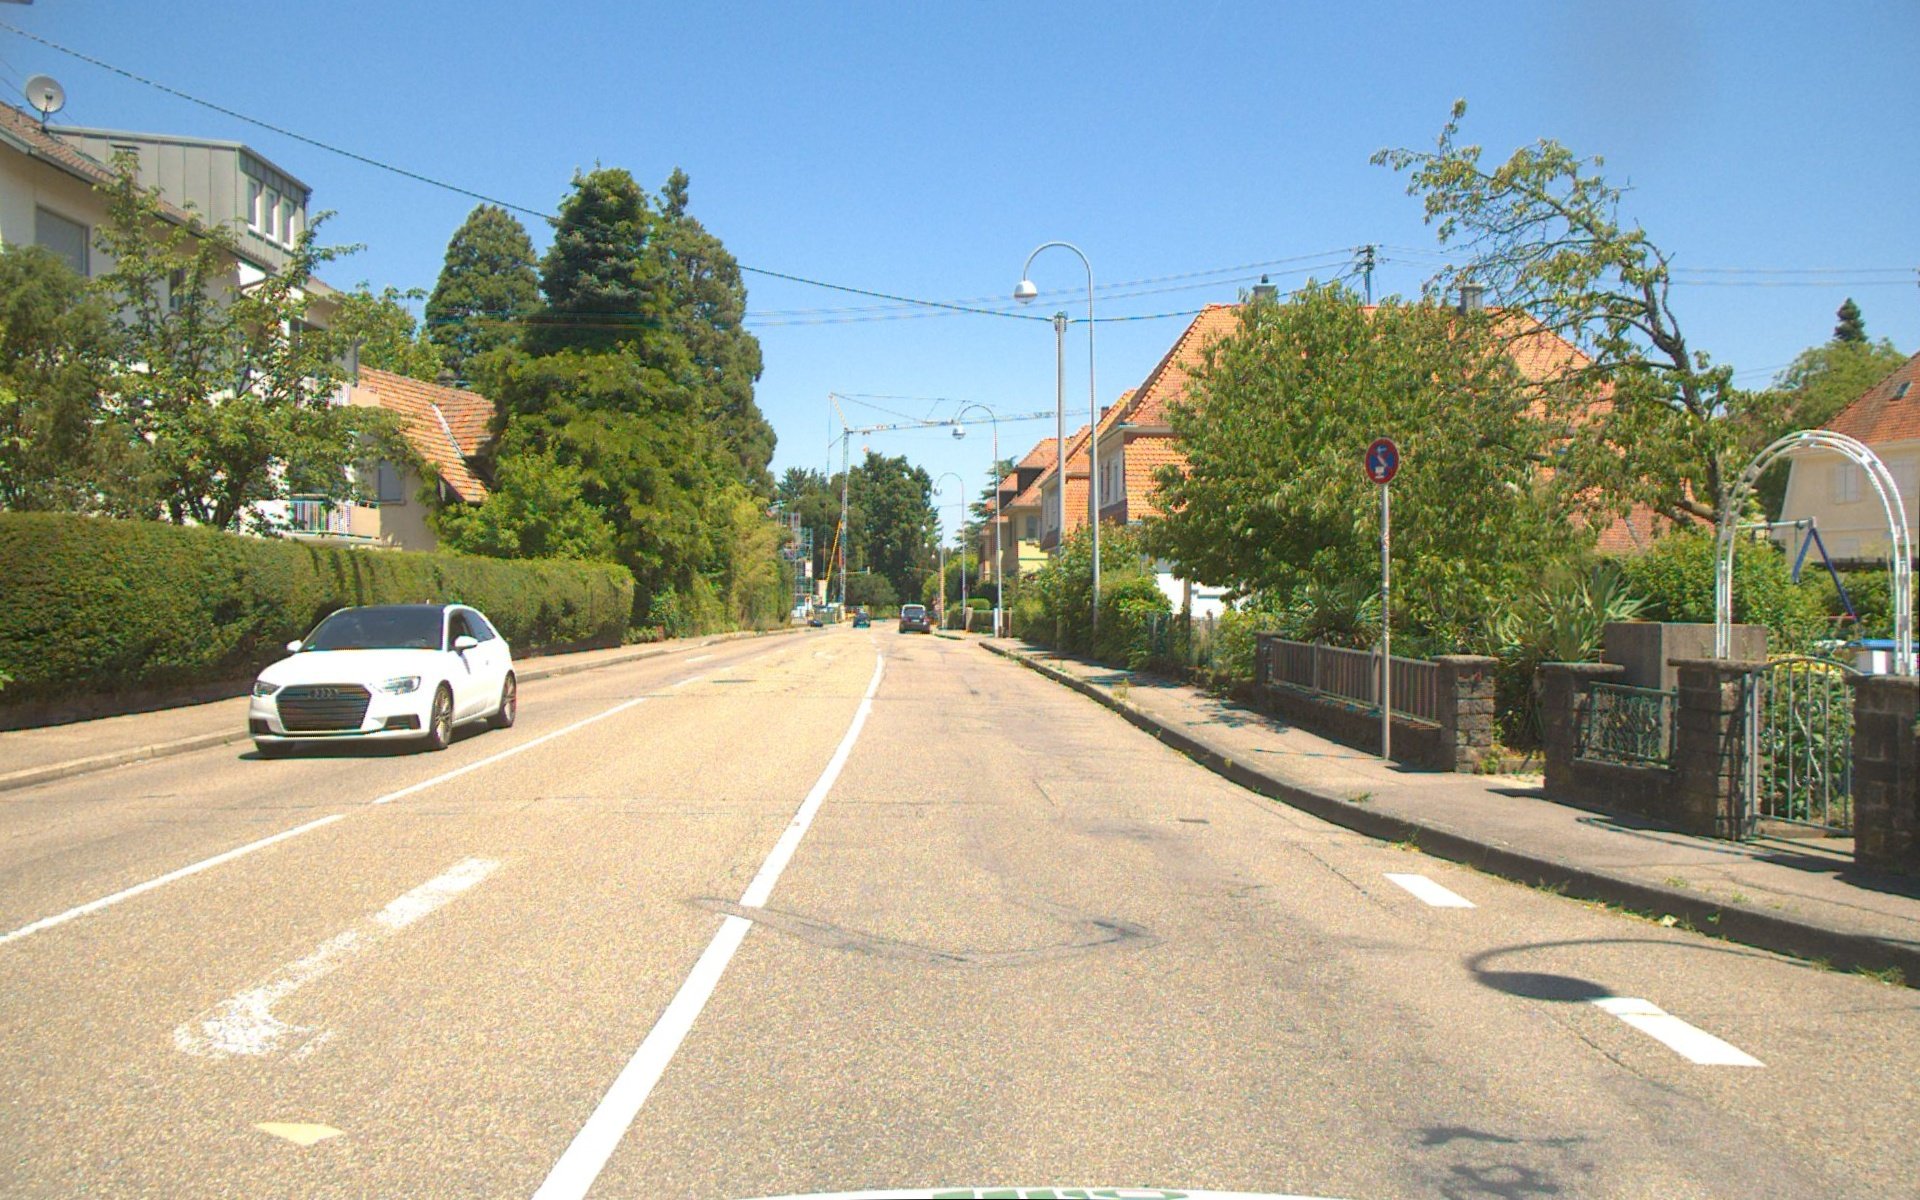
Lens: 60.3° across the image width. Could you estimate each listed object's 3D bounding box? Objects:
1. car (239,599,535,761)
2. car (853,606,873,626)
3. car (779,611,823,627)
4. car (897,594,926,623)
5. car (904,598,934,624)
[{"bbox_3d":[-5.773,0.727,17.213,1.646,1.396,4.205,-2,0,-1],"label":"car"},{"bbox_3d":[-10.210,1.631,174.419,1.953,1.882,4.710,0,2,-2],"label":"car"},{"bbox_3d":[-15.653,1.879,162.919,3.902,1.494,1.966,-1,0,13],"label":"car"},{"bbox_3d":[-3.478,0.614,117.444,1.954,1.934,4.819,2,-1,-3],"label":"car"},{"bbox_3d":[-2.433,0.672,97.725,1.659,1.444,4.547,0,-1,-3],"label":"car"}]
